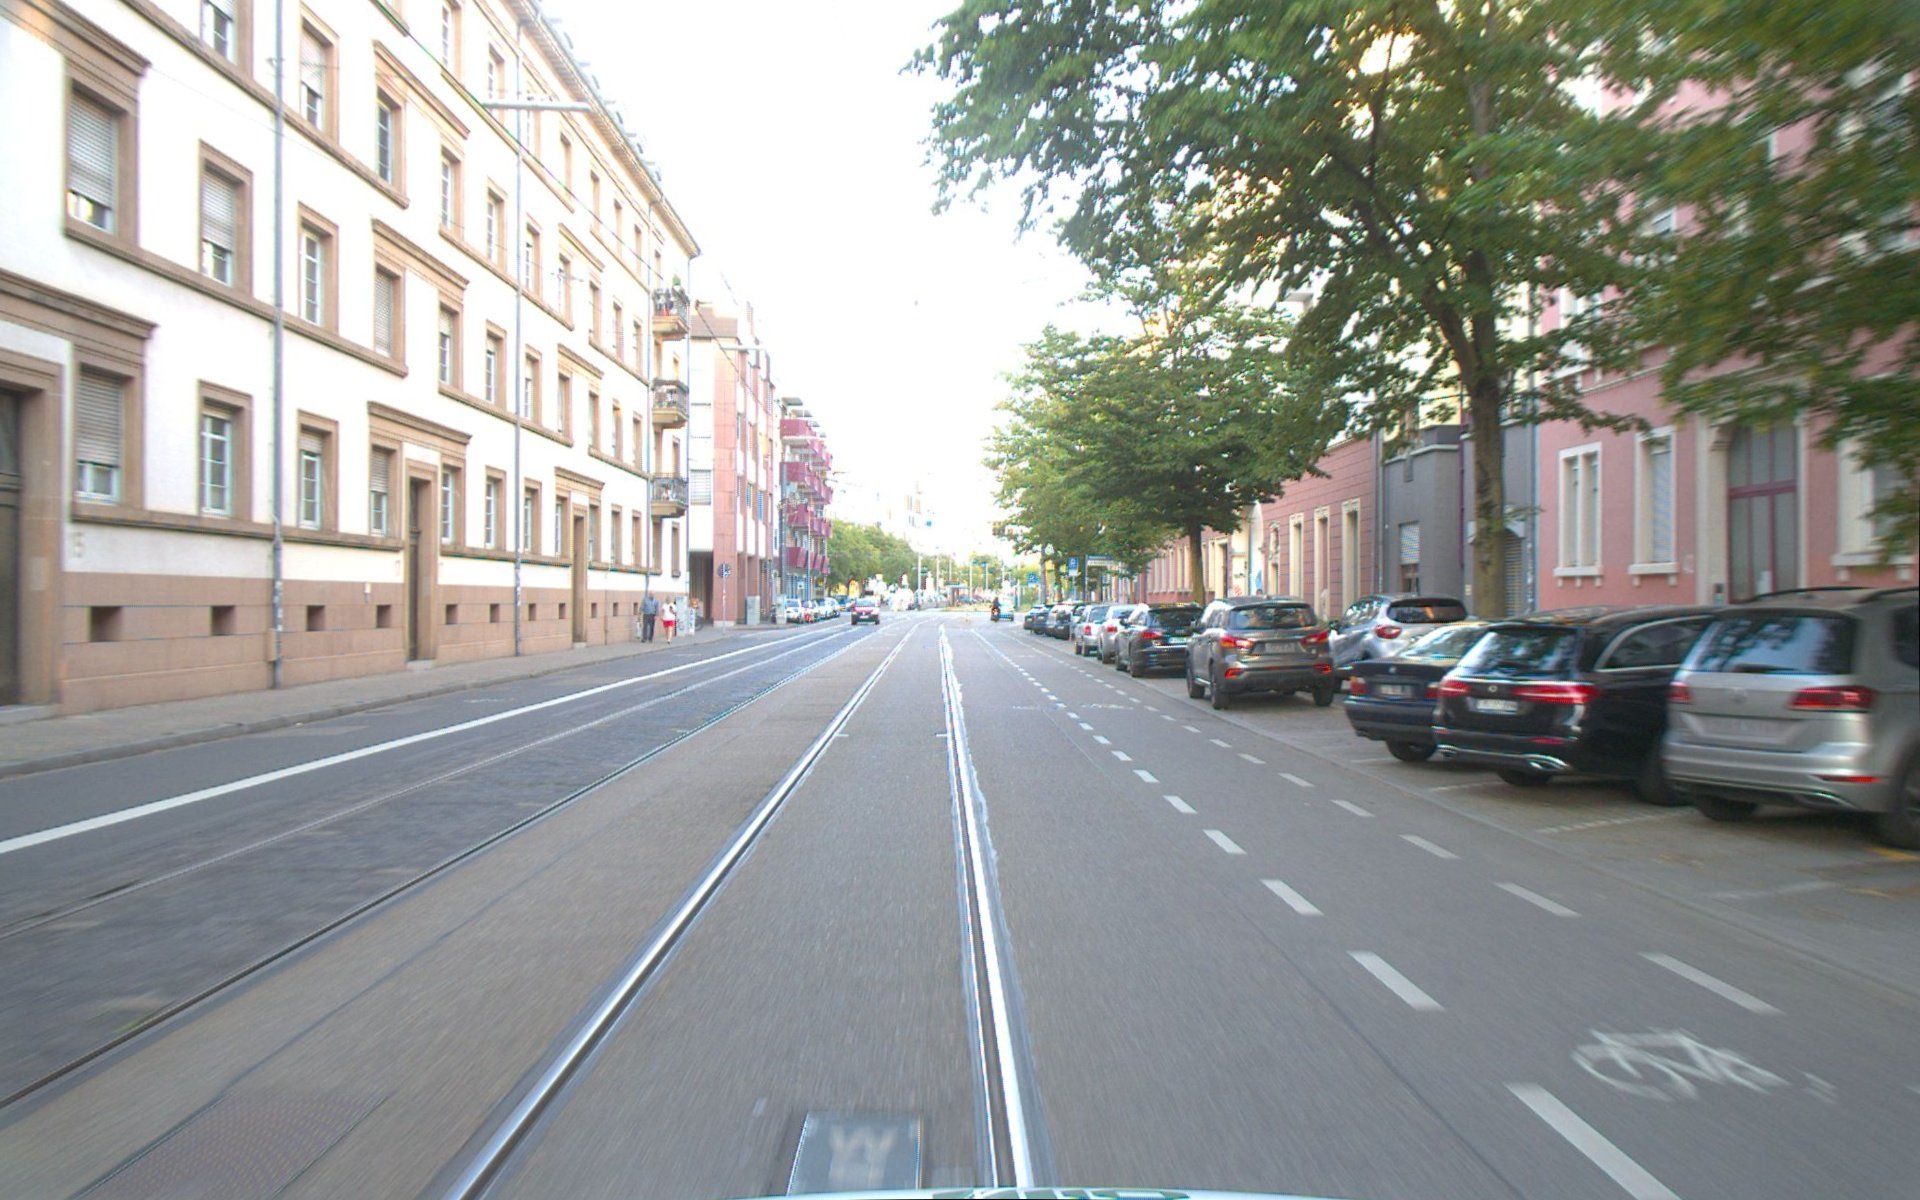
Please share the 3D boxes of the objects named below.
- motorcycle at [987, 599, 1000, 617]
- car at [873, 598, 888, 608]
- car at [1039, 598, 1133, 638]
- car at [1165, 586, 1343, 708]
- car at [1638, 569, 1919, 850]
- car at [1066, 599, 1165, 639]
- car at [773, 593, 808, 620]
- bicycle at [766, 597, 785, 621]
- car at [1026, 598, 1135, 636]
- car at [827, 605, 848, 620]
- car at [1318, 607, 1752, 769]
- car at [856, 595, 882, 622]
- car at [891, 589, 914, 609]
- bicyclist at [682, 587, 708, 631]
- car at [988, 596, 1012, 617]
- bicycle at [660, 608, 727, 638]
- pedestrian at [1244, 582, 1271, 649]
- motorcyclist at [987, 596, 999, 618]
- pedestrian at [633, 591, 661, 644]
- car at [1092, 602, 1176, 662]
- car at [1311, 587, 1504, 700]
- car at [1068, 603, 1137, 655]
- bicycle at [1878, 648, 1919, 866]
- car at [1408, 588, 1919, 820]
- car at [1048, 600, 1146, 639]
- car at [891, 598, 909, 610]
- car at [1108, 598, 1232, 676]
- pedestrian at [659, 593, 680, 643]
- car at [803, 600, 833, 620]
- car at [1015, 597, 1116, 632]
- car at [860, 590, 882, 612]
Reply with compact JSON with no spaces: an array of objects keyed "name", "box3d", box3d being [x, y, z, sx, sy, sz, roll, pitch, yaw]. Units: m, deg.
[{"name":"motorcycle","box3d":[2.315,0.550,114.902,0.811,1.261,2.492,0,0,3]},{"name":"car","box3d":[-12.253,0.500,256.077,1.647,1.528,4.242,0,0,7]},{"name":"car","box3d":[5.201,0.737,68.172,3.512,1.543,1.729,-1,0,-26]},{"name":"car","box3d":[4.446,0.668,25.640,1.842,1.646,4.261,-2,0,-1]},{"name":"car","box3d":[6.794,0.613,11.344,3.932,1.621,1.708,-1,1,-23]},{"name":"car","box3d":[5.939,0.739,63.320,3.431,1.454,1.611,0,-2,-20]},{"name":"car","box3d":[-10.426,0.416,101.742,1.682,1.583,4.203,1,0,0]},{"name":"bicycle","box3d":[-10.824,0.497,97.144,0.595,1.402,2.260,0,0,7]},{"name":"car","box3d":[5.325,0.744,73.279,4.386,1.543,2.048,-1,0,-24]},{"name":"car","box3d":[-14.391,1.444,194.777,1.647,1.729,4.242,0,0,8]},{"name":"car","box3d":[5.698,0.786,16.302,4.198,1.412,1.607,0,0,-27]},{"name":"car","box3d":[-5.519,0.479,100.313,1.528,1.585,3.752,-1,0,-3]},{"name":"car","box3d":[-7.283,-0.083,210.395,2.409,2.526,5.810,0,0,3]},{"name":"bicyclist","box3d":[-12.569,0.412,78.404,1.192,2.049,0.945,0,0,-9]},{"name":"car","box3d":[2.963,0.478,123.879,1.681,1.583,4.204,1,0,1]},{"name":"bicycle","box3d":[-12.611,1.077,78.401,3.112,1.378,0.955,0,0,-10]},{"name":"pedestrian","box3d":[8.370,0.433,46.559,0.666,1.848,0.600,0,0,-1]},{"name":"motorcyclist","box3d":[2.318,0.474,114.912,0.811,1.499,1.207,0,0,3]},{"name":"pedestrian","box3d":[-10.333,0.567,54.653,0.779,1.731,0.981,0,0,-3]},{"name":"car","box3d":[4.398,0.774,42.358,1.743,1.405,4.691,-2,0,1]},{"name":"car","box3d":[6.857,0.617,25.787,1.841,1.612,4.019,0,0,-1]},{"name":"car","box3d":[4.093,0.803,47.888,1.586,1.405,3.775,-2,0,-1]},{"name":"bicycle","box3d":[6.044,0.842,8.992,1.762,1.164,0.730,-1,0,-9]},{"name":"car","box3d":[5.764,0.736,13.318,3.901,1.580,1.711,-1,1,-19]},{"name":"car","box3d":[5.420,0.770,65.405,3.512,1.454,1.655,-1,0,-26]},{"name":"car","box3d":[-7.469,0.539,204.665,1.647,1.464,4.129,0,0,6]},{"name":"car","box3d":[4.370,0.737,35.131,1.953,1.515,5.035,-1,0,0]},{"name":"pedestrian","box3d":[-9.622,0.593,54.731,0.579,1.638,0.811,0,0,-3]},{"name":"car","box3d":[-10.465,0.731,121.973,1.656,1.438,4.677,2,0,1]},{"name":"car","box3d":[5.065,0.675,79.237,4.547,1.482,1.697,-2,0,-26]},{"name":"car","box3d":[-13.259,0.159,247.373,2.154,3.207,6.147,0,0,7]}]
